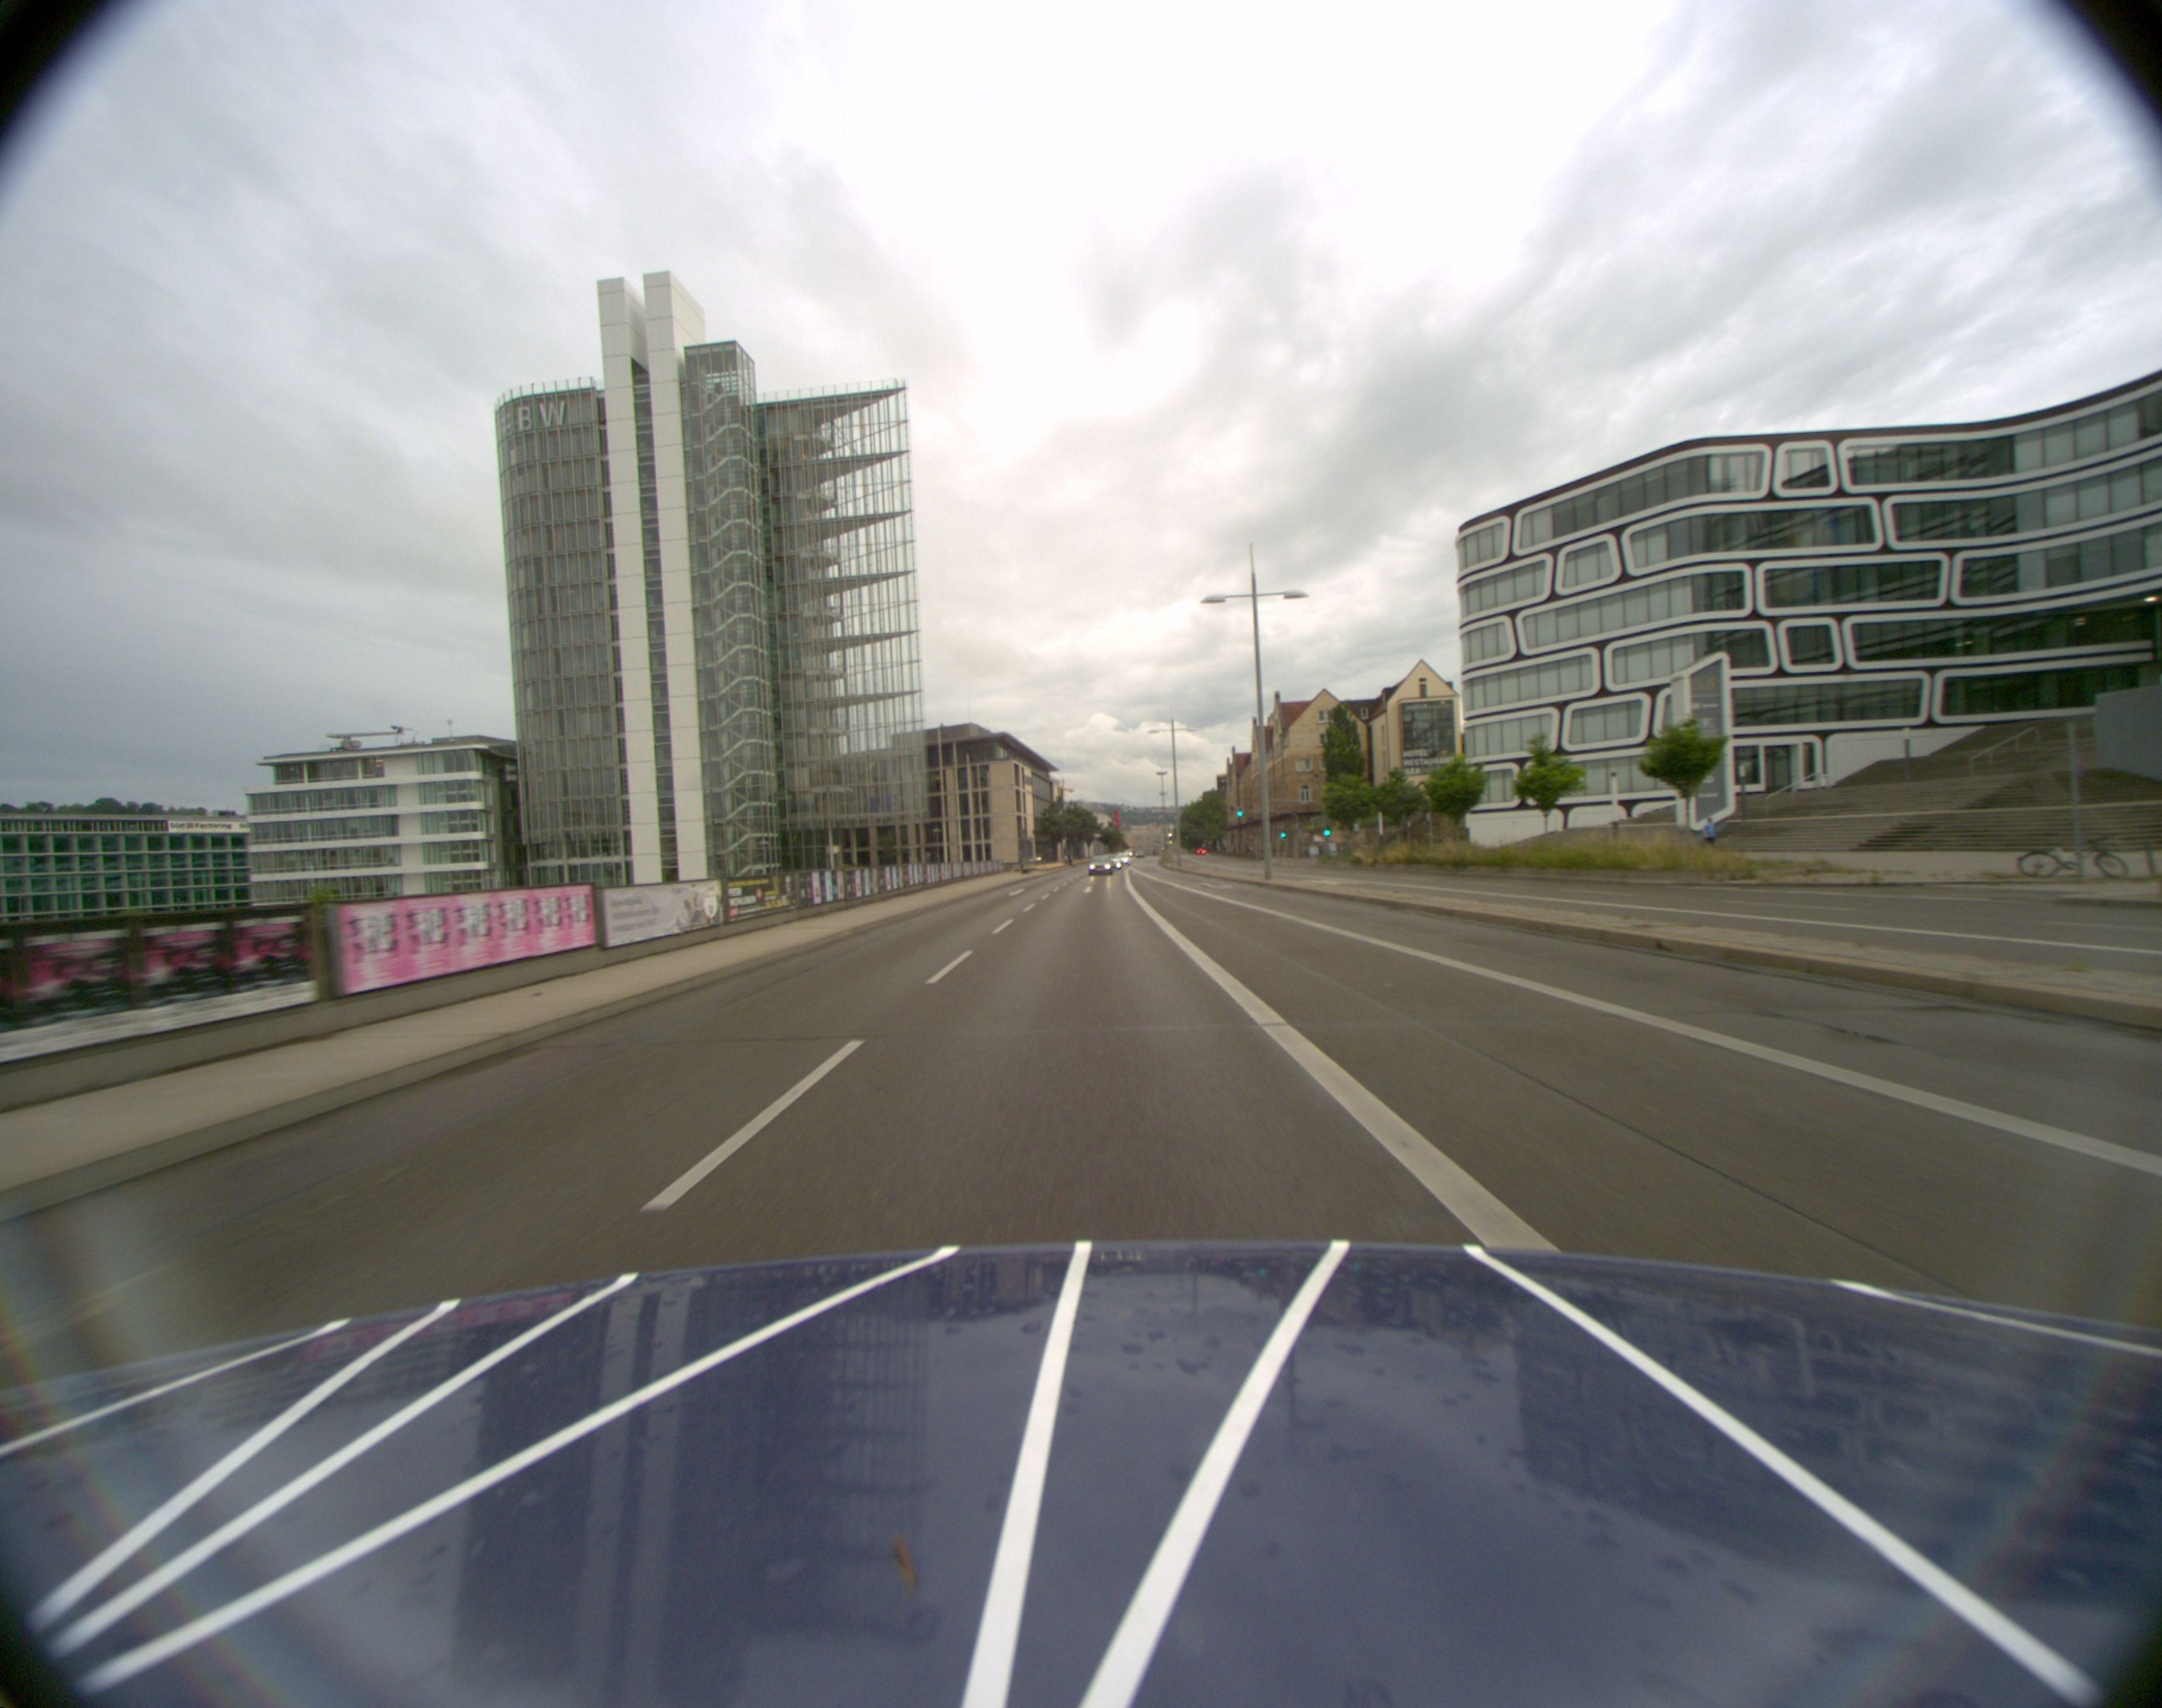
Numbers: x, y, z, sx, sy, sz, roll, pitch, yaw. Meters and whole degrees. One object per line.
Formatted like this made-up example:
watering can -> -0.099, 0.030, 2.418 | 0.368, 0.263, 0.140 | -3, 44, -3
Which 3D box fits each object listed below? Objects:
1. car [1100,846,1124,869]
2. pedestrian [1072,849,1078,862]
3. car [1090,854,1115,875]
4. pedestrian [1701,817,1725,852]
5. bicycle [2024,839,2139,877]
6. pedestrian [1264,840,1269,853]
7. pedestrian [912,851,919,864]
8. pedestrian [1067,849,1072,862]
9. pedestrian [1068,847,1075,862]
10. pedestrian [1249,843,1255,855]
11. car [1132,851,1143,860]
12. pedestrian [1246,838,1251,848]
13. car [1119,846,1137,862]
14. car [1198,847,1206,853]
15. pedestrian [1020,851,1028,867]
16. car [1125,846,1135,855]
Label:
car -> 2.912, 0.263, 72.200 | 1.999, 2.002, 3.998 | -2, 2, -1
pedestrian -> -0.712, 0.164, 89.242 | 0.542, 1.519, 0.600 | -2, 2, -6
car -> 1.578, 0.751, 56.003 | 1.684, 1.379, 3.475 | -2, 2, 0
pedestrian -> 30.024, -0.918, 36.095 | 0.612, 1.602, 0.639 | -2, 2, 3
bicycle -> 24.266, 0.093, 18.460 | 0.610, 0.852, 1.653 | -4, 2, -33
pedestrian -> 26.501, -1.049, 108.573 | 0.677, 1.769, 0.684 | -2, 2, 6
pedestrian -> -23.506, 0.470, 107.712 | 0.634, 1.735, 0.635 | -1, 2, 26
pedestrian -> -1.356, 0.175, 88.631 | 0.461, 1.590, 0.656 | -2, 2, 5
pedestrian -> -1.137, 0.093, 90.168 | 0.728, 1.761, 0.782 | -2, 2, -6
pedestrian -> 26.985, -0.801, 119.883 | 0.677, 1.769, 0.684 | -2, 2, 6
car -> 12.621, 0.312, 168.518 | 1.999, 2.002, 3.998 | -2, 2, -1
pedestrian -> 28.962, -1.915, 131.408 | 0.677, 1.769, 0.684 | -2, 2, 6
car -> 5.713, -0.009, 91.441 | 1.970, 1.815, 3.930 | -3, 0, 6
car -> 29.959, -1.080, 188.168 | 1.714, 1.455, 4.001 | -3, 0, 6
pedestrian -> -5.584, 0.482, 74.459 | 0.660, 1.601, 0.547 | -3, 1, 6
car -> 12.161, -0.959, 188.633 | 1.999, 2.002, 3.998 | -2, 2, -1
